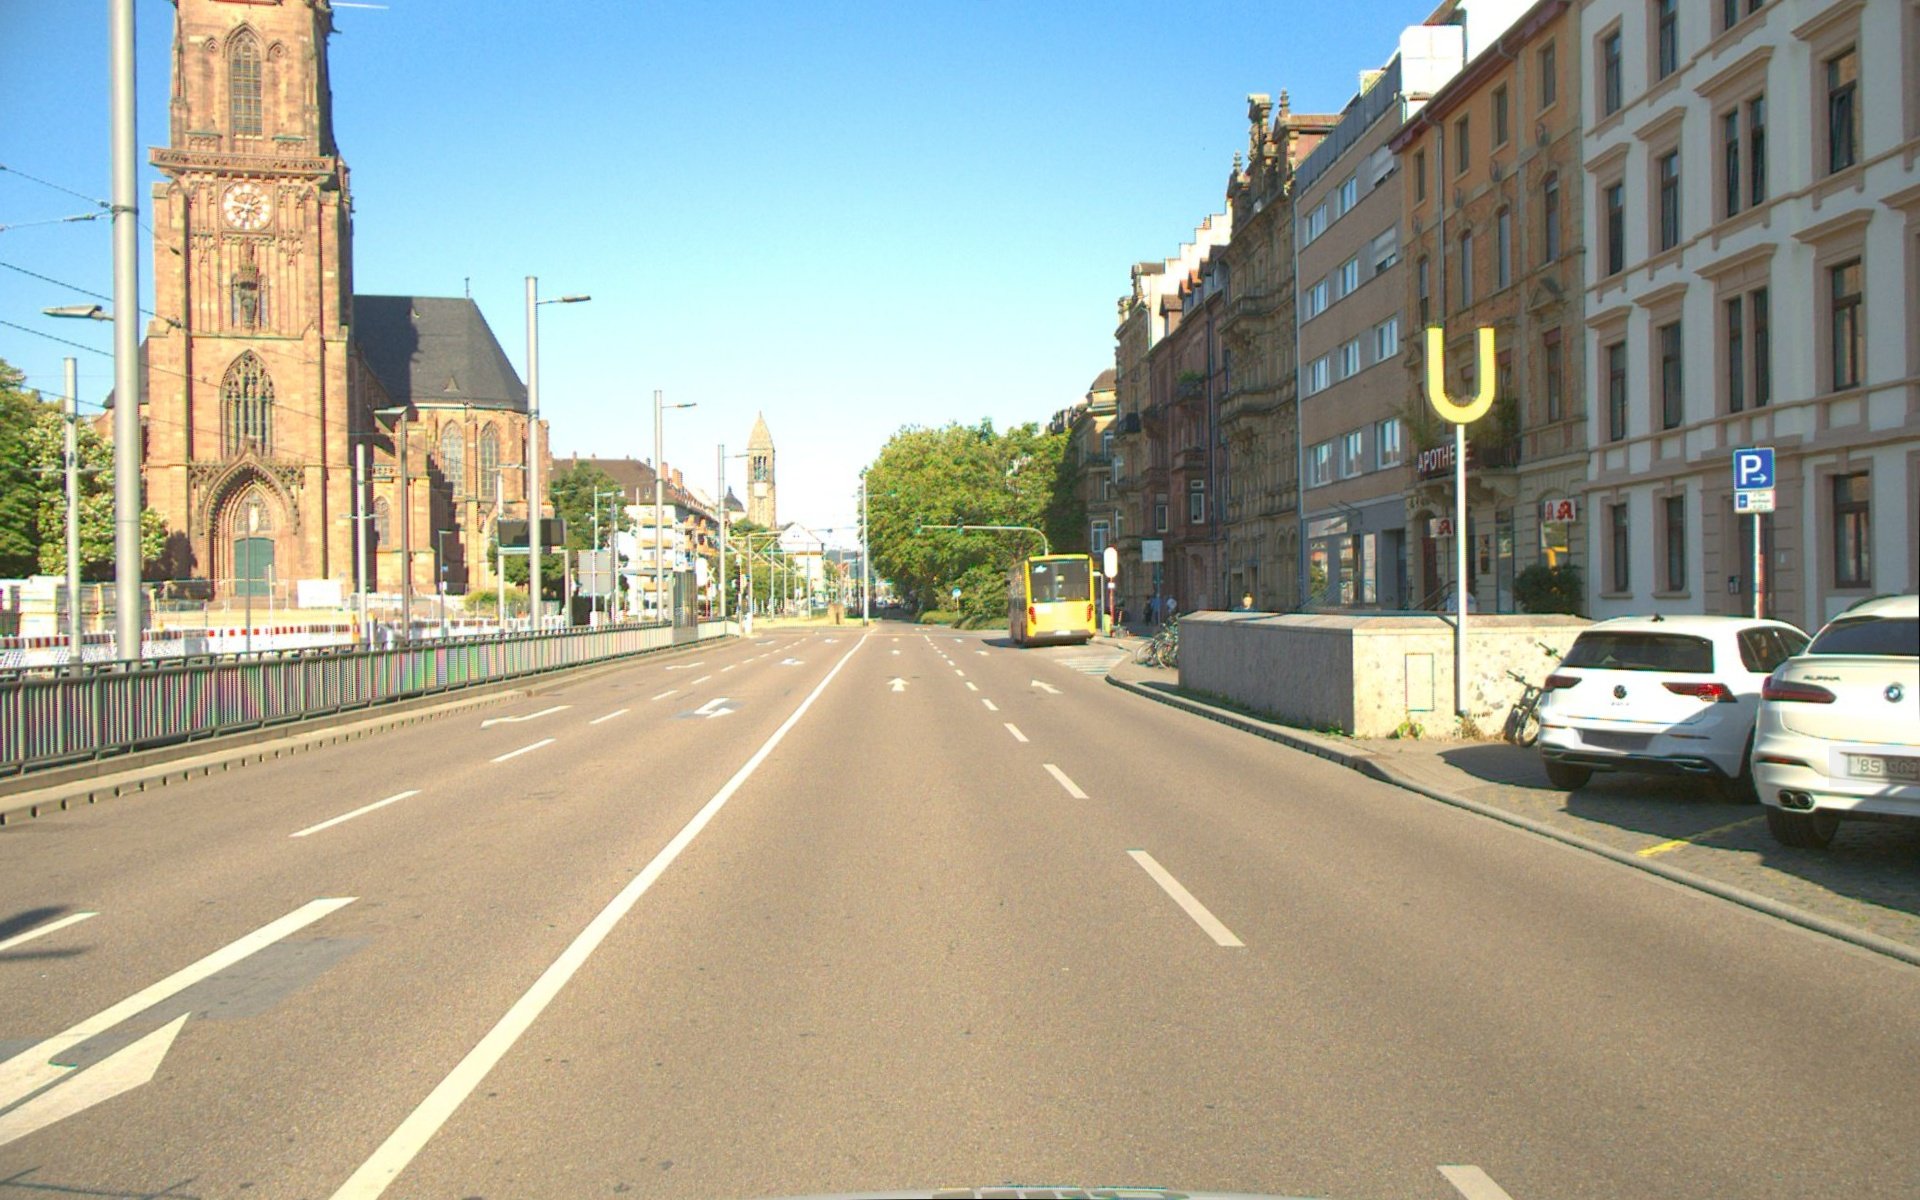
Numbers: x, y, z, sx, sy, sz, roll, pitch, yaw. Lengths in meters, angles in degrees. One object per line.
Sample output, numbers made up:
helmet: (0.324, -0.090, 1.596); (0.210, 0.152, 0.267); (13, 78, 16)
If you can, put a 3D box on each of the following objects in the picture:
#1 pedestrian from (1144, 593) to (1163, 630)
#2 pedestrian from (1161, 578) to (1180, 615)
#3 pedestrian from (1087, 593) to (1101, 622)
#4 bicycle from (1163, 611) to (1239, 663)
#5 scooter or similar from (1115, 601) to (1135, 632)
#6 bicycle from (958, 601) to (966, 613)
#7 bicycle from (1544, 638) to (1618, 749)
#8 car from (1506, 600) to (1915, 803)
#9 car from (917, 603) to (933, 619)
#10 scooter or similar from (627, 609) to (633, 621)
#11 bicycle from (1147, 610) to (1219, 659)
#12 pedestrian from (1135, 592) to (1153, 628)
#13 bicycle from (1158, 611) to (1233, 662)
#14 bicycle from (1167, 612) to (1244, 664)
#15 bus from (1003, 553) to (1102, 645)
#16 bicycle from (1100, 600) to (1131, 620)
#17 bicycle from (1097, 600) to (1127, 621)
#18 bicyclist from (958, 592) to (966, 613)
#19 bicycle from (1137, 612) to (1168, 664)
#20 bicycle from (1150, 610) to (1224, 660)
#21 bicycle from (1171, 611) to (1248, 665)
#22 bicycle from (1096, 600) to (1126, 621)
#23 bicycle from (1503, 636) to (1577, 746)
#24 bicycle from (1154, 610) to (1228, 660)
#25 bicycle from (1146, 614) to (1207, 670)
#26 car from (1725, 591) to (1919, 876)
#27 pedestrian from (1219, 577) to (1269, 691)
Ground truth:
pedestrian: (10.403, 0.627, 88.868); (0.805, 1.964, 1.136); (-1, 0, -3)
pedestrian: (11.317, -0.181, 88.945); (0.805, 1.964, 1.136); (-1, 0, -3)
pedestrian: (8.147, 0.454, 100.877); (0.688, 1.685, 1.136); (-1, 0, -3)
bicycle: (5.746, 0.885, 39.436); (1.729, 1.208, 0.470); (0, 1, -3)
scooter or similar: (6.908, 0.695, 69.202); (0.423, 1.271, 1.291); (-2, -1, -12)
bicycle: (0.173, 0.623, 147.824); (0.628, 1.066, 2.358); (-2, -1, -3)
bicycle: (6.641, 0.980, 17.671); (0.411, 1.130, 1.090); (1, 0, 38)
car: (6.696, 0.771, 14.563); (4.082, 1.489, 1.930); (-1, 0, -44)
car: (-3.644, 1.153, 171.566); (1.610, 1.537, 4.181); (-2, 0, -2)
scooter or similar: (-37.489, 1.669, 188.087); (0.393, 1.283, 1.230); (-2, 3, -2)
bicycle: (5.593, 0.852, 41.433); (1.729, 1.208, 0.470); (0, 1, -3)
pedestrian: (10.145, 0.537, 91.093); (0.805, 1.964, 1.136); (-1, 0, -3)
bicycle: (5.678, 0.875, 39.936); (1.729, 1.208, 0.470); (0, 1, -3)
bicycle: (5.772, 0.891, 38.918); (1.729, 1.208, 0.470); (0, 1, -3)
bus: (3.494, -0.041, 65.810); (2.661, 3.236, 12.535); (-2, 0, -2)
bicycle: (10.051, 0.643, 106.972); (1.852, 1.260, 0.488); (-2, -1, -15)
bicycle: (9.908, 0.699, 108.120); (1.852, 1.260, 0.488); (-2, -1, -15)
bicyclist: (0.168, 0.210, 147.822); (0.628, 1.846, 1.051); (-2, -1, -3)
bicycle: (4.575, 0.891, 39.306); (0.459, 1.167, 1.770); (0, 1, -2)
bicycle: (5.618, 0.871, 40.931); (1.756, 1.208, 0.470); (0, 1, -3)
bicycle: (5.791, 0.880, 38.411); (1.729, 1.208, 0.470); (0, 1, -3)
bicycle: (9.821, 0.685, 107.498); (1.852, 1.260, 0.488); (-2, -1, -15)
bicycle: (6.302, 0.969, 17.945); (0.411, 1.130, 1.090); (1, 0, 38)
bicycle: (5.637, 0.850, 40.433); (1.729, 1.208, 0.470); (0, 1, -3)
bicycle: (4.777, 0.920, 36.609); (0.463, 1.167, 1.756); (0, 1, -25)
car: (6.771, 0.757, 10.901); (1.927, 1.598, 4.223); (0, 0, 43)
pedestrian: (5.275, 0.627, 30.710); (0.735, 2.048, 0.698); (-2, 2, -2)
